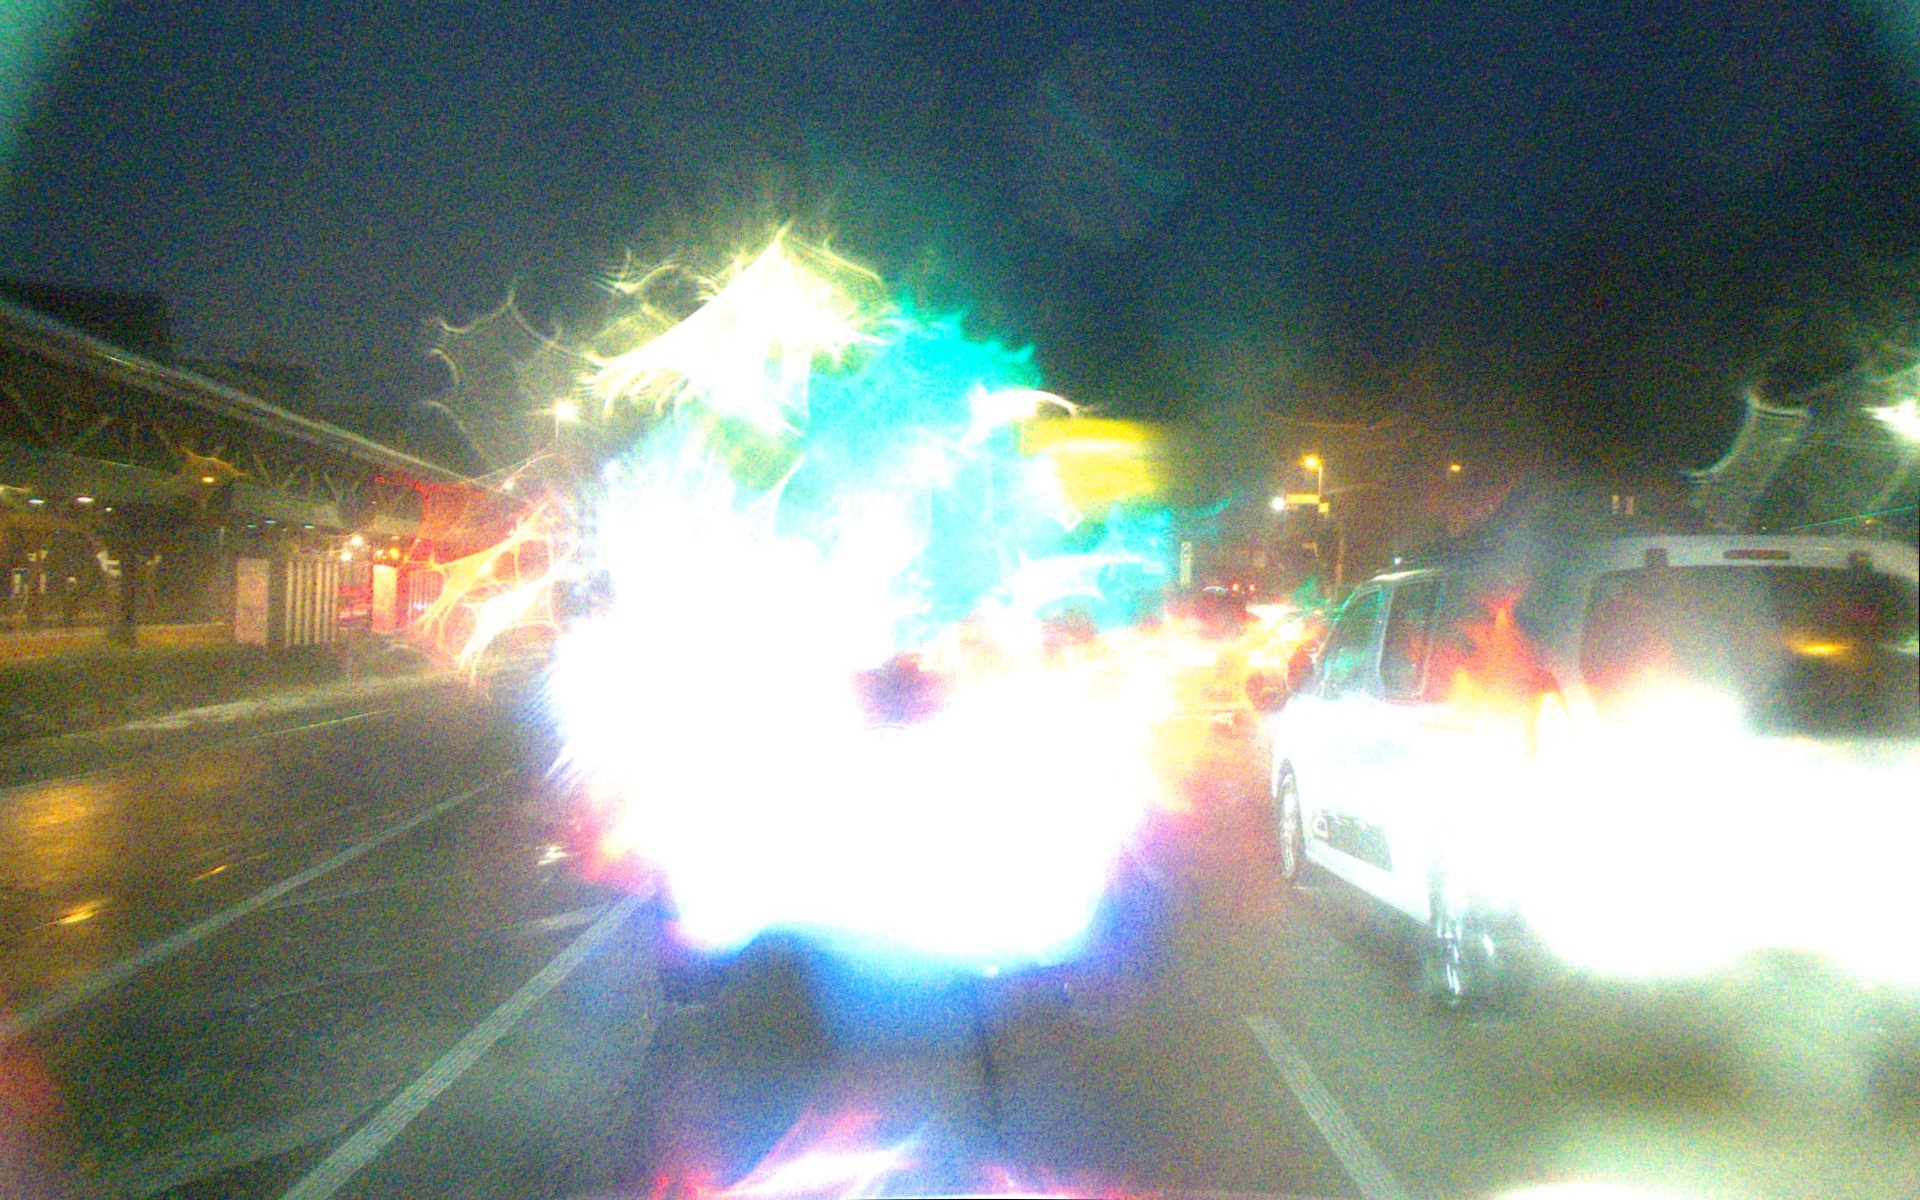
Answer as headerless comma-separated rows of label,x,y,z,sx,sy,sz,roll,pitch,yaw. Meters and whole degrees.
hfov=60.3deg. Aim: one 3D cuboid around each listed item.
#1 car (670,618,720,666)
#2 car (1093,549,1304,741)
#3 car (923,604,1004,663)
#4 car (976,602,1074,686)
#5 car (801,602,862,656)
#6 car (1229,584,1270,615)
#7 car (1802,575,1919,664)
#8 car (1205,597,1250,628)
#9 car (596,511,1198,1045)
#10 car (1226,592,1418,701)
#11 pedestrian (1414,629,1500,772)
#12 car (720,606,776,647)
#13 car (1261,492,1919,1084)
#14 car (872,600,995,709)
car,-12.247,1.891,76.275,1.979,1.919,4.438,2,1,-12
car,2.804,0.517,20.301,1.929,2.083,3.999,1,-1,-1
car,0.057,1.007,51.064,1.956,1.699,3.993,1,-1,-8
car,1.401,0.949,37.048,1.953,1.748,3.999,1,-1,-1
car,-4.688,1.034,59.841,1.956,1.856,3.993,1,-1,-8
car,19.603,-0.017,112.196,1.953,2.049,3.999,1,-1,-1
car,16.971,0.371,30.633,1.685,1.509,4.708,1,-1,18
car,14.702,0.689,91.067,1.827,1.675,3.962,-1,-1,0
car,-0.311,0.624,7.755,1.974,1.747,4.449,1,-1,-3
car,5.206,0.618,24.353,1.749,1.467,4.236,0,0,-2
pedestrian,6.218,1.239,20.698,0.856,1.731,0.612,2,-1,-33
car,-10.130,1.261,78.839,1.962,1.856,3.981,2,-1,-17
car,2.723,0.640,7.561,1.814,1.898,4.339,1,-1,-1
car,-0.454,0.894,28.711,1.953,1.713,3.999,1,-1,-1
